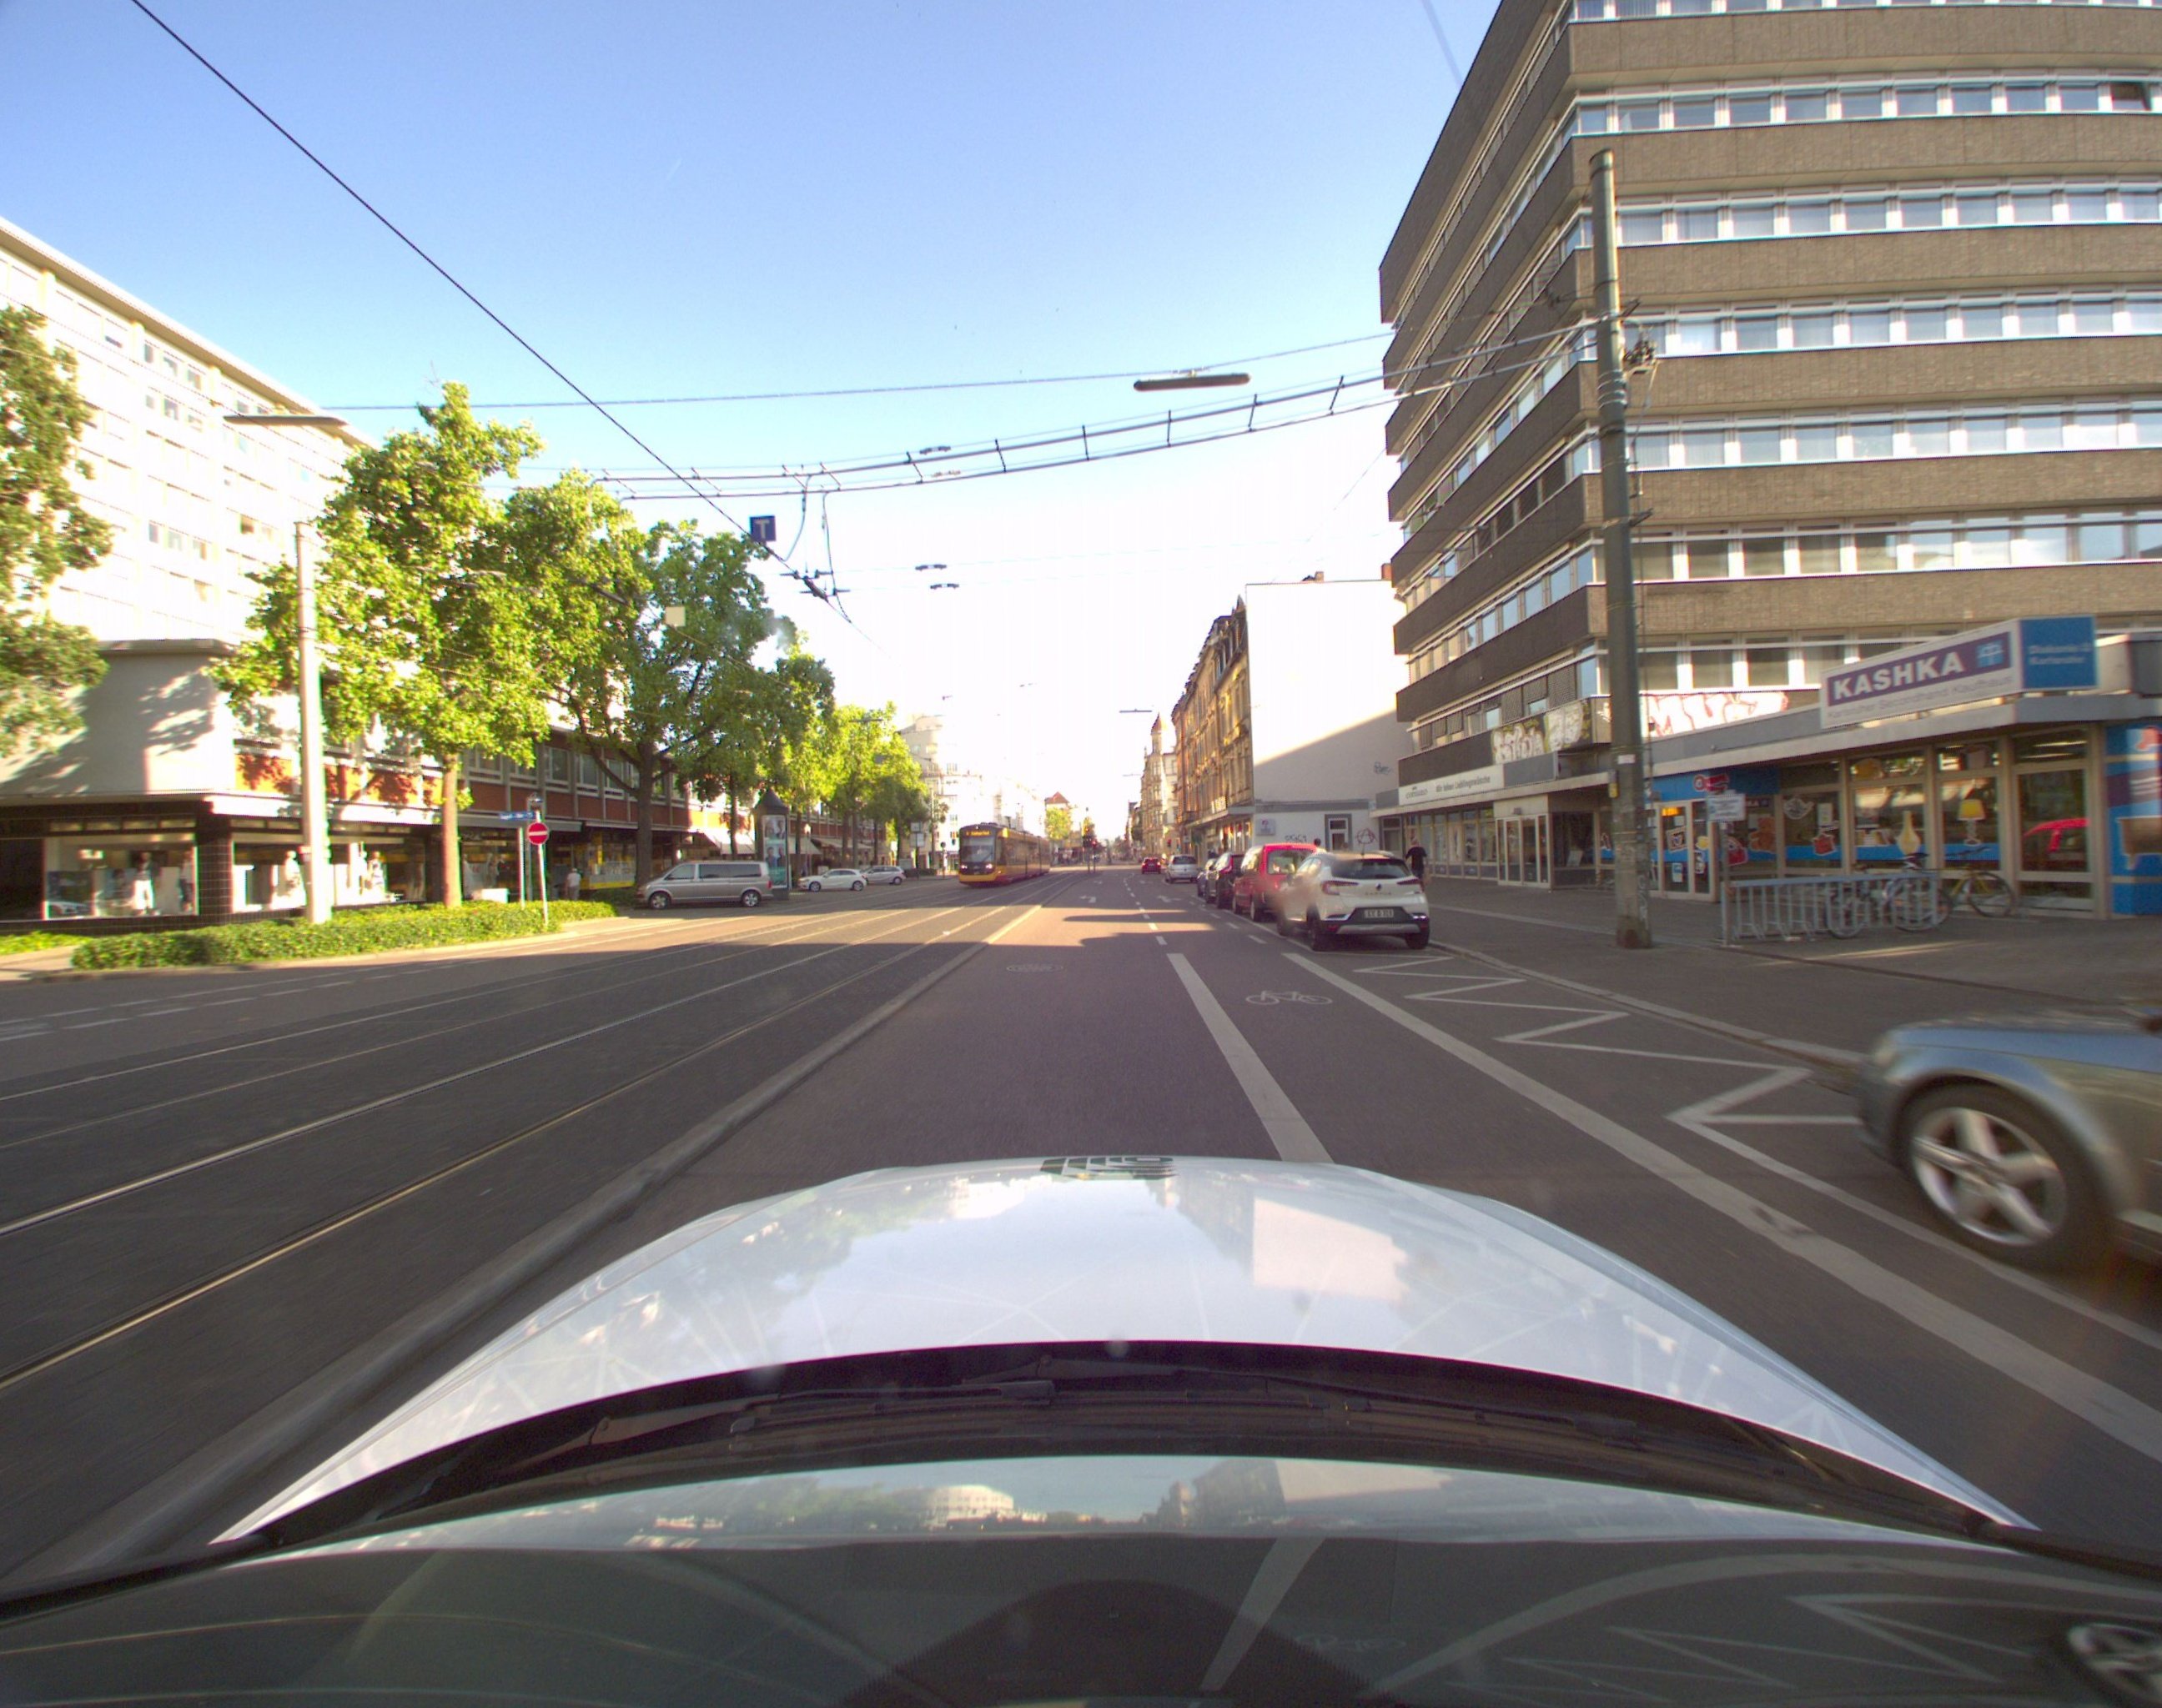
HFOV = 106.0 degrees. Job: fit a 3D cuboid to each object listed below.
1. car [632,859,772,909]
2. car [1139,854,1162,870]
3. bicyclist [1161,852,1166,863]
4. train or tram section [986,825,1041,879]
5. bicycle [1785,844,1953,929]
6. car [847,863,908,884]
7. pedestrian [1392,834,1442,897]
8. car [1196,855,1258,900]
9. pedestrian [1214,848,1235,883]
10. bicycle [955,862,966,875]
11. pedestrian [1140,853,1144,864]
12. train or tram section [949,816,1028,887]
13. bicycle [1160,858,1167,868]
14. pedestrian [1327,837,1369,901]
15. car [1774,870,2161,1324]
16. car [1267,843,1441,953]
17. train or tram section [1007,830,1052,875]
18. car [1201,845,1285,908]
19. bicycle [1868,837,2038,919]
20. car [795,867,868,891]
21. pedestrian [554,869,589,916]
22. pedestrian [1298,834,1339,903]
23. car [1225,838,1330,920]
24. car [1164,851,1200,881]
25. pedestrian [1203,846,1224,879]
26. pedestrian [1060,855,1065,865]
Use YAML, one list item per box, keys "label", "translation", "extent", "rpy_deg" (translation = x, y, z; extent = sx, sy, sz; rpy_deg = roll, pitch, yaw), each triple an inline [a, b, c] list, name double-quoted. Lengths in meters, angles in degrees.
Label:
- label: "car"
  translation: [-15.687, 1.206, 33.778]
  extent: [5.136, 1.929, 1.836]
  rpy_deg: [0, -1, -30]
- label: "car"
  translation: [6.269, 0.706, 73.544]
  extent: [1.748, 1.466, 3.945]
  rpy_deg: [-1, 0, 1]
- label: "bicyclist"
  translation: [10.210, 0.439, 100.683]
  extent: [0.417, 1.409, 0.663]
  rpy_deg: [-3, 0, 28]
- label: "train or tram section"
  translation: [-4.817, -0.127, 60.652]
  extent: [2.665, 3.551, 11.131]
  rpy_deg: [-3, 0, 2]
- label: "bicycle"
  translation: [11.065, 0.444, 11.460]
  extent: [1.875, 1.096, 0.469]
  rpy_deg: [-2, -1, 0]
- label: "car"
  translation: [-15.921, 1.499, 63.637]
  extent: [4.292, 1.566, 1.810]
  rpy_deg: [-1, -1, -29]
- label: "pedestrian"
  translation: [9.743, 0.333, 23.649]
  extent: [0.897, 1.713, 1.033]
  rpy_deg: [-4, 0, 1]
- label: "car"
  translation: [5.286, 0.806, 29.813]
  extent: [1.632, 1.492, 3.795]
  rpy_deg: [0, 1, 1]
- label: "pedestrian"
  translation: [7.356, 0.586, 41.697]
  extent: [0.784, 1.738, 0.946]
  rpy_deg: [-5, -1, 1]
- label: "bicycle"
  translation: [-12.994, 1.562, 87.925]
  extent: [0.668, 1.327, 1.909]
  rpy_deg: [1, 0, 5]
- label: "pedestrian"
  translation: [11.242, 0.883, 150.787]
  extent: [0.649, 2.013, 0.760]
  rpy_deg: [-2, 0, 1]
- label: "train or tram section"
  translation: [-5.228, -0.094, 48.852]
  extent: [2.748, 3.551, 12.473]
  rpy_deg: [-3, 0, 2]
- label: "bicycle"
  translation: [10.188, 1.096, 100.577]
  extent: [0.417, 1.096, 1.422]
  rpy_deg: [-3, 0, 28]
- label: "pedestrian"
  translation: [7.668, 0.425, 23.434]
  extent: [0.808, 1.756, 1.033]
  rpy_deg: [-3, 0, 1]
- label: "car"
  translation: [4.220, 0.760, 1.915]
  extent: [1.668, 1.404, 4.167]
  rpy_deg: [0, -1, 1]
- label: "car"
  translation: [4.577, 0.662, 14.351]
  extent: [1.779, 1.596, 4.330]
  rpy_deg: [-2, 0, 3]
- label: "train or tram section"
  translation: [-4.409, -0.070, 72.632]
  extent: [2.665, 3.551, 12.847]
  rpy_deg: [-3, 0, 2]
- label: "car"
  translation: [4.889, 0.632, 25.111]
  extent: [1.813, 1.757, 4.477]
  rpy_deg: [-1, 0, 2]
- label: "bicycle"
  translation: [13.169, 0.345, 12.322]
  extent: [2.011, 1.096, 0.636]
  rpy_deg: [-3, 0, -6]
- label: "car"
  translation: [-16.227, 1.606, 52.916]
  extent: [4.281, 1.429, 1.750]
  rpy_deg: [0, -1, -29]
- label: "pedestrian"
  translation: [-21.335, 1.596, 34.126]
  extent: [0.888, 1.878, 0.925]
  rpy_deg: [-2, 0, 35]
- label: "pedestrian"
  translation: [6.776, 0.408, 23.282]
  extent: [0.790, 1.899, 1.033]
  rpy_deg: [-3, 0, 1]
- label: "car"
  translation: [4.765, 0.570, 20.312]
  extent: [1.669, 1.808, 4.250]
  rpy_deg: [-1, 0, 1]
- label: "car"
  translation: [5.804, 0.661, 47.048]
  extent: [1.632, 1.615, 3.945]
  rpy_deg: [-1, 0, 1]
- label: "pedestrian"
  translation: [7.574, 0.497, 46.563]
  extent: [0.943, 1.792, 1.055]
  rpy_deg: [-3, 0, 1]
- label: "pedestrian"
  translation: [-3.868, 1.190, 169.845]
  extent: [0.952, 2.013, 1.049]
  rpy_deg: [-2, 0, 2]
